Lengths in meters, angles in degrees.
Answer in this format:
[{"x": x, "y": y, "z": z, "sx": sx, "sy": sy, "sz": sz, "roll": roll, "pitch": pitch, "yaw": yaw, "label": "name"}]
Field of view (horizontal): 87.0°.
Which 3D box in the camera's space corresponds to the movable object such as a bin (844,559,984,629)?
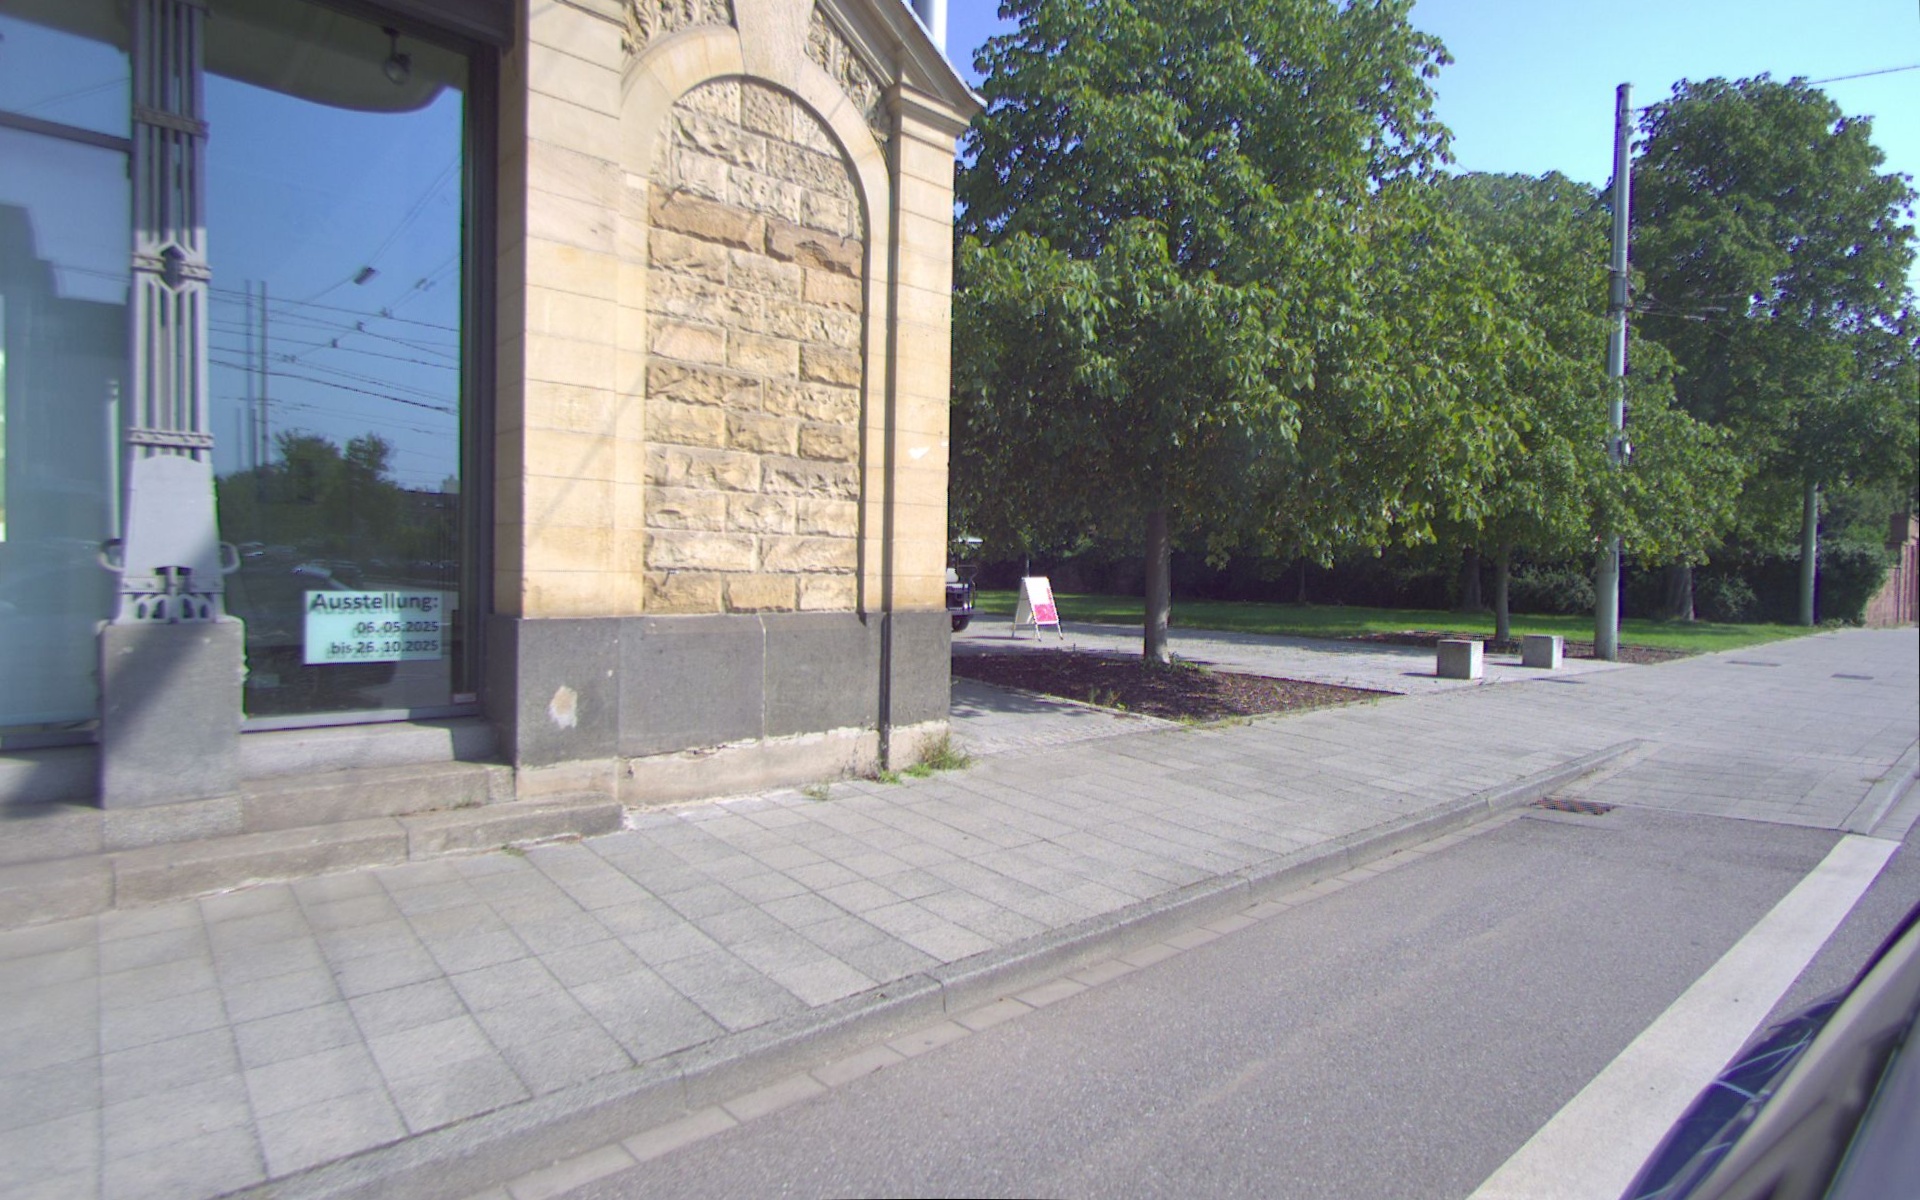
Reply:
[{"x": -1.017, "y": -0.172, "z": 21.354, "sx": 1.279, "sy": 1.314, "sz": 3.111, "roll": -1, "pitch": 3, "yaw": -41, "label": "movable object such as a bin"}]
